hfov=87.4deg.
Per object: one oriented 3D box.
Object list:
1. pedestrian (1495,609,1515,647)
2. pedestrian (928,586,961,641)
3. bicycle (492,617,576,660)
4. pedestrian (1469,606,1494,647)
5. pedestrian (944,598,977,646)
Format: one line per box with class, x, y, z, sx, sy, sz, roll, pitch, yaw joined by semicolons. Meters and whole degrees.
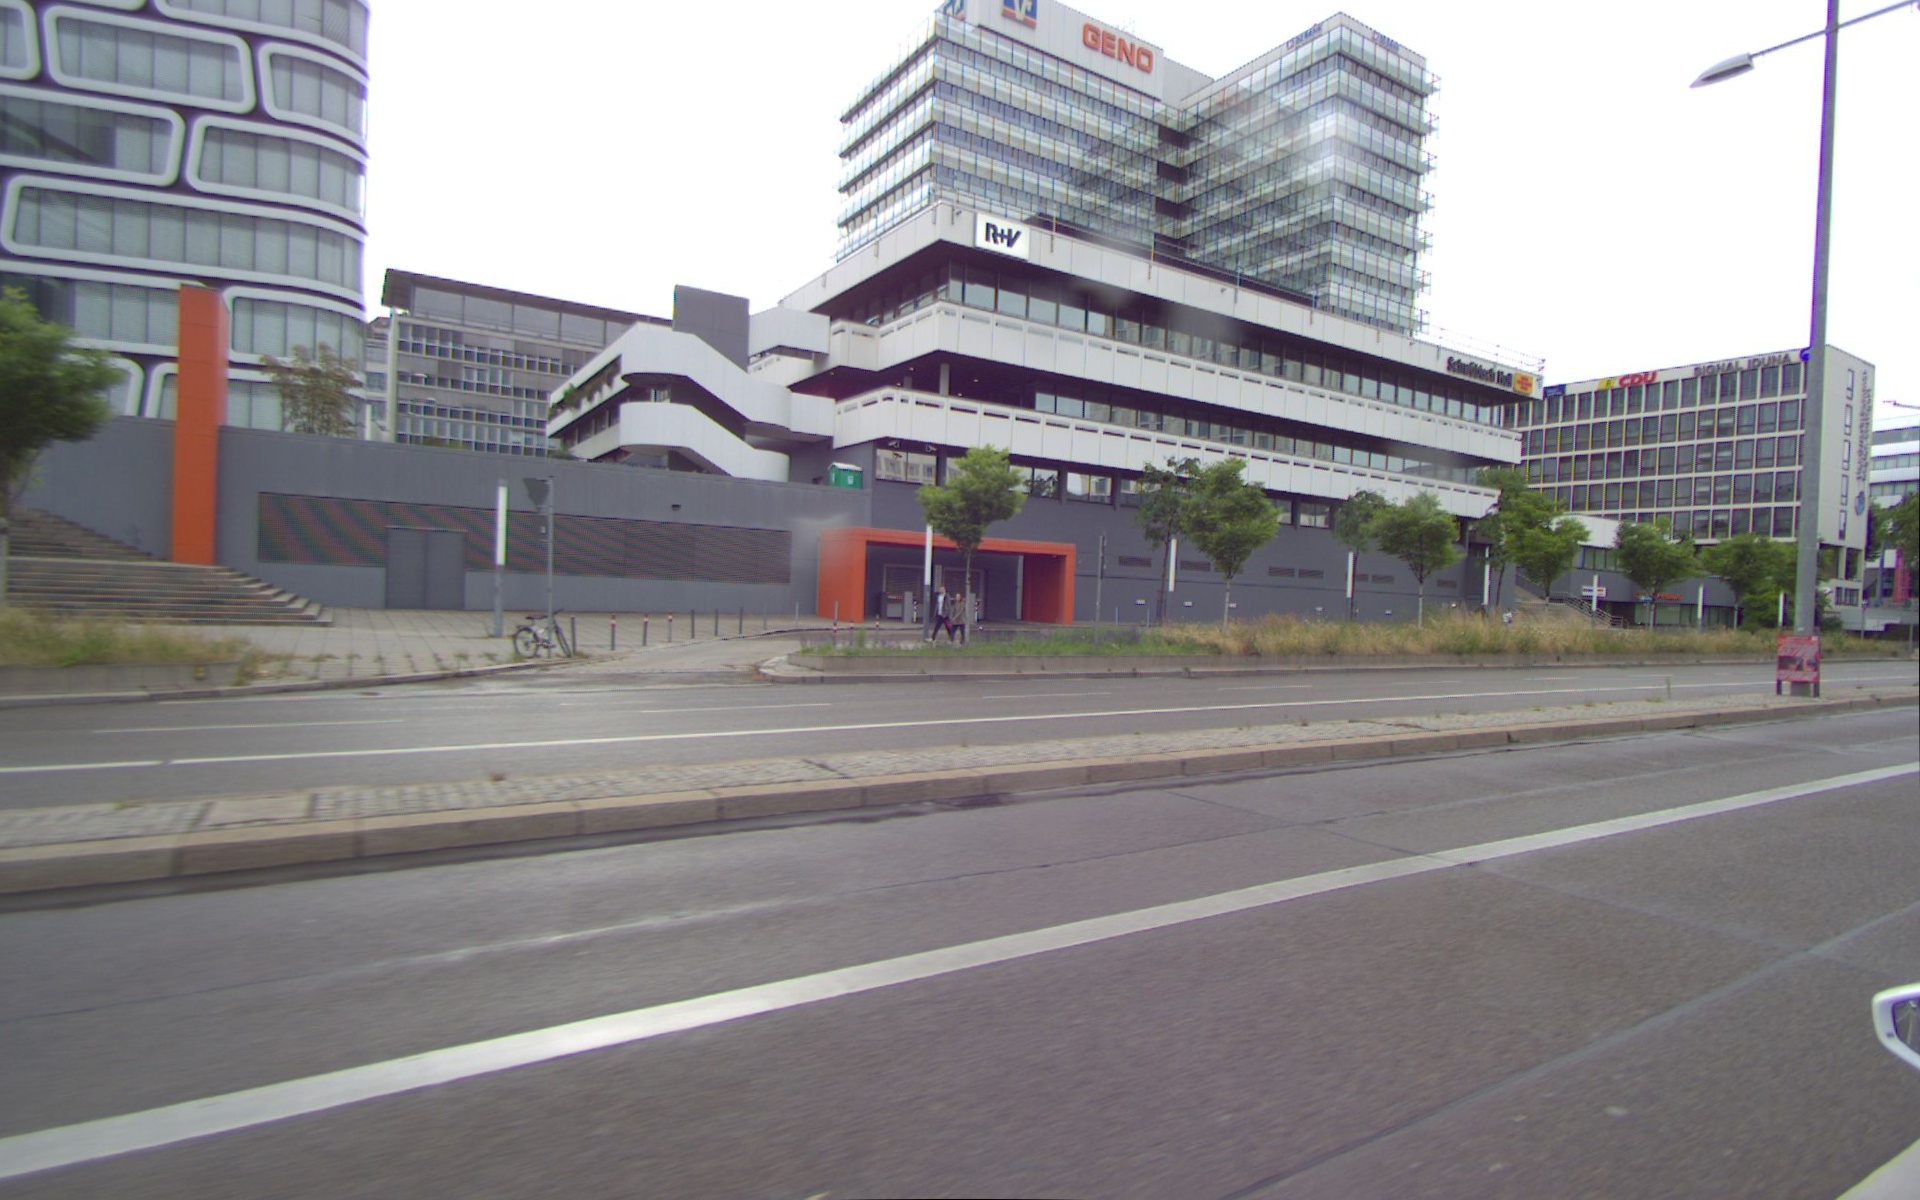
pedestrian;26.973;1.392;49.694;0.621;1.831;0.626;2;-1;-32
pedestrian;-0.484;0.423;31.808;0.789;1.680;0.614;2;-1;-31
bicycle;-9.088;0.816;21.480;0.598;0.869;1.656;2;-1;25
pedestrian;23.868;1.218;45.988;0.621;1.831;0.780;2;-1;-31
pedestrian;0.006;0.681;31.060;0.789;1.465;0.614;2;-1;-31
